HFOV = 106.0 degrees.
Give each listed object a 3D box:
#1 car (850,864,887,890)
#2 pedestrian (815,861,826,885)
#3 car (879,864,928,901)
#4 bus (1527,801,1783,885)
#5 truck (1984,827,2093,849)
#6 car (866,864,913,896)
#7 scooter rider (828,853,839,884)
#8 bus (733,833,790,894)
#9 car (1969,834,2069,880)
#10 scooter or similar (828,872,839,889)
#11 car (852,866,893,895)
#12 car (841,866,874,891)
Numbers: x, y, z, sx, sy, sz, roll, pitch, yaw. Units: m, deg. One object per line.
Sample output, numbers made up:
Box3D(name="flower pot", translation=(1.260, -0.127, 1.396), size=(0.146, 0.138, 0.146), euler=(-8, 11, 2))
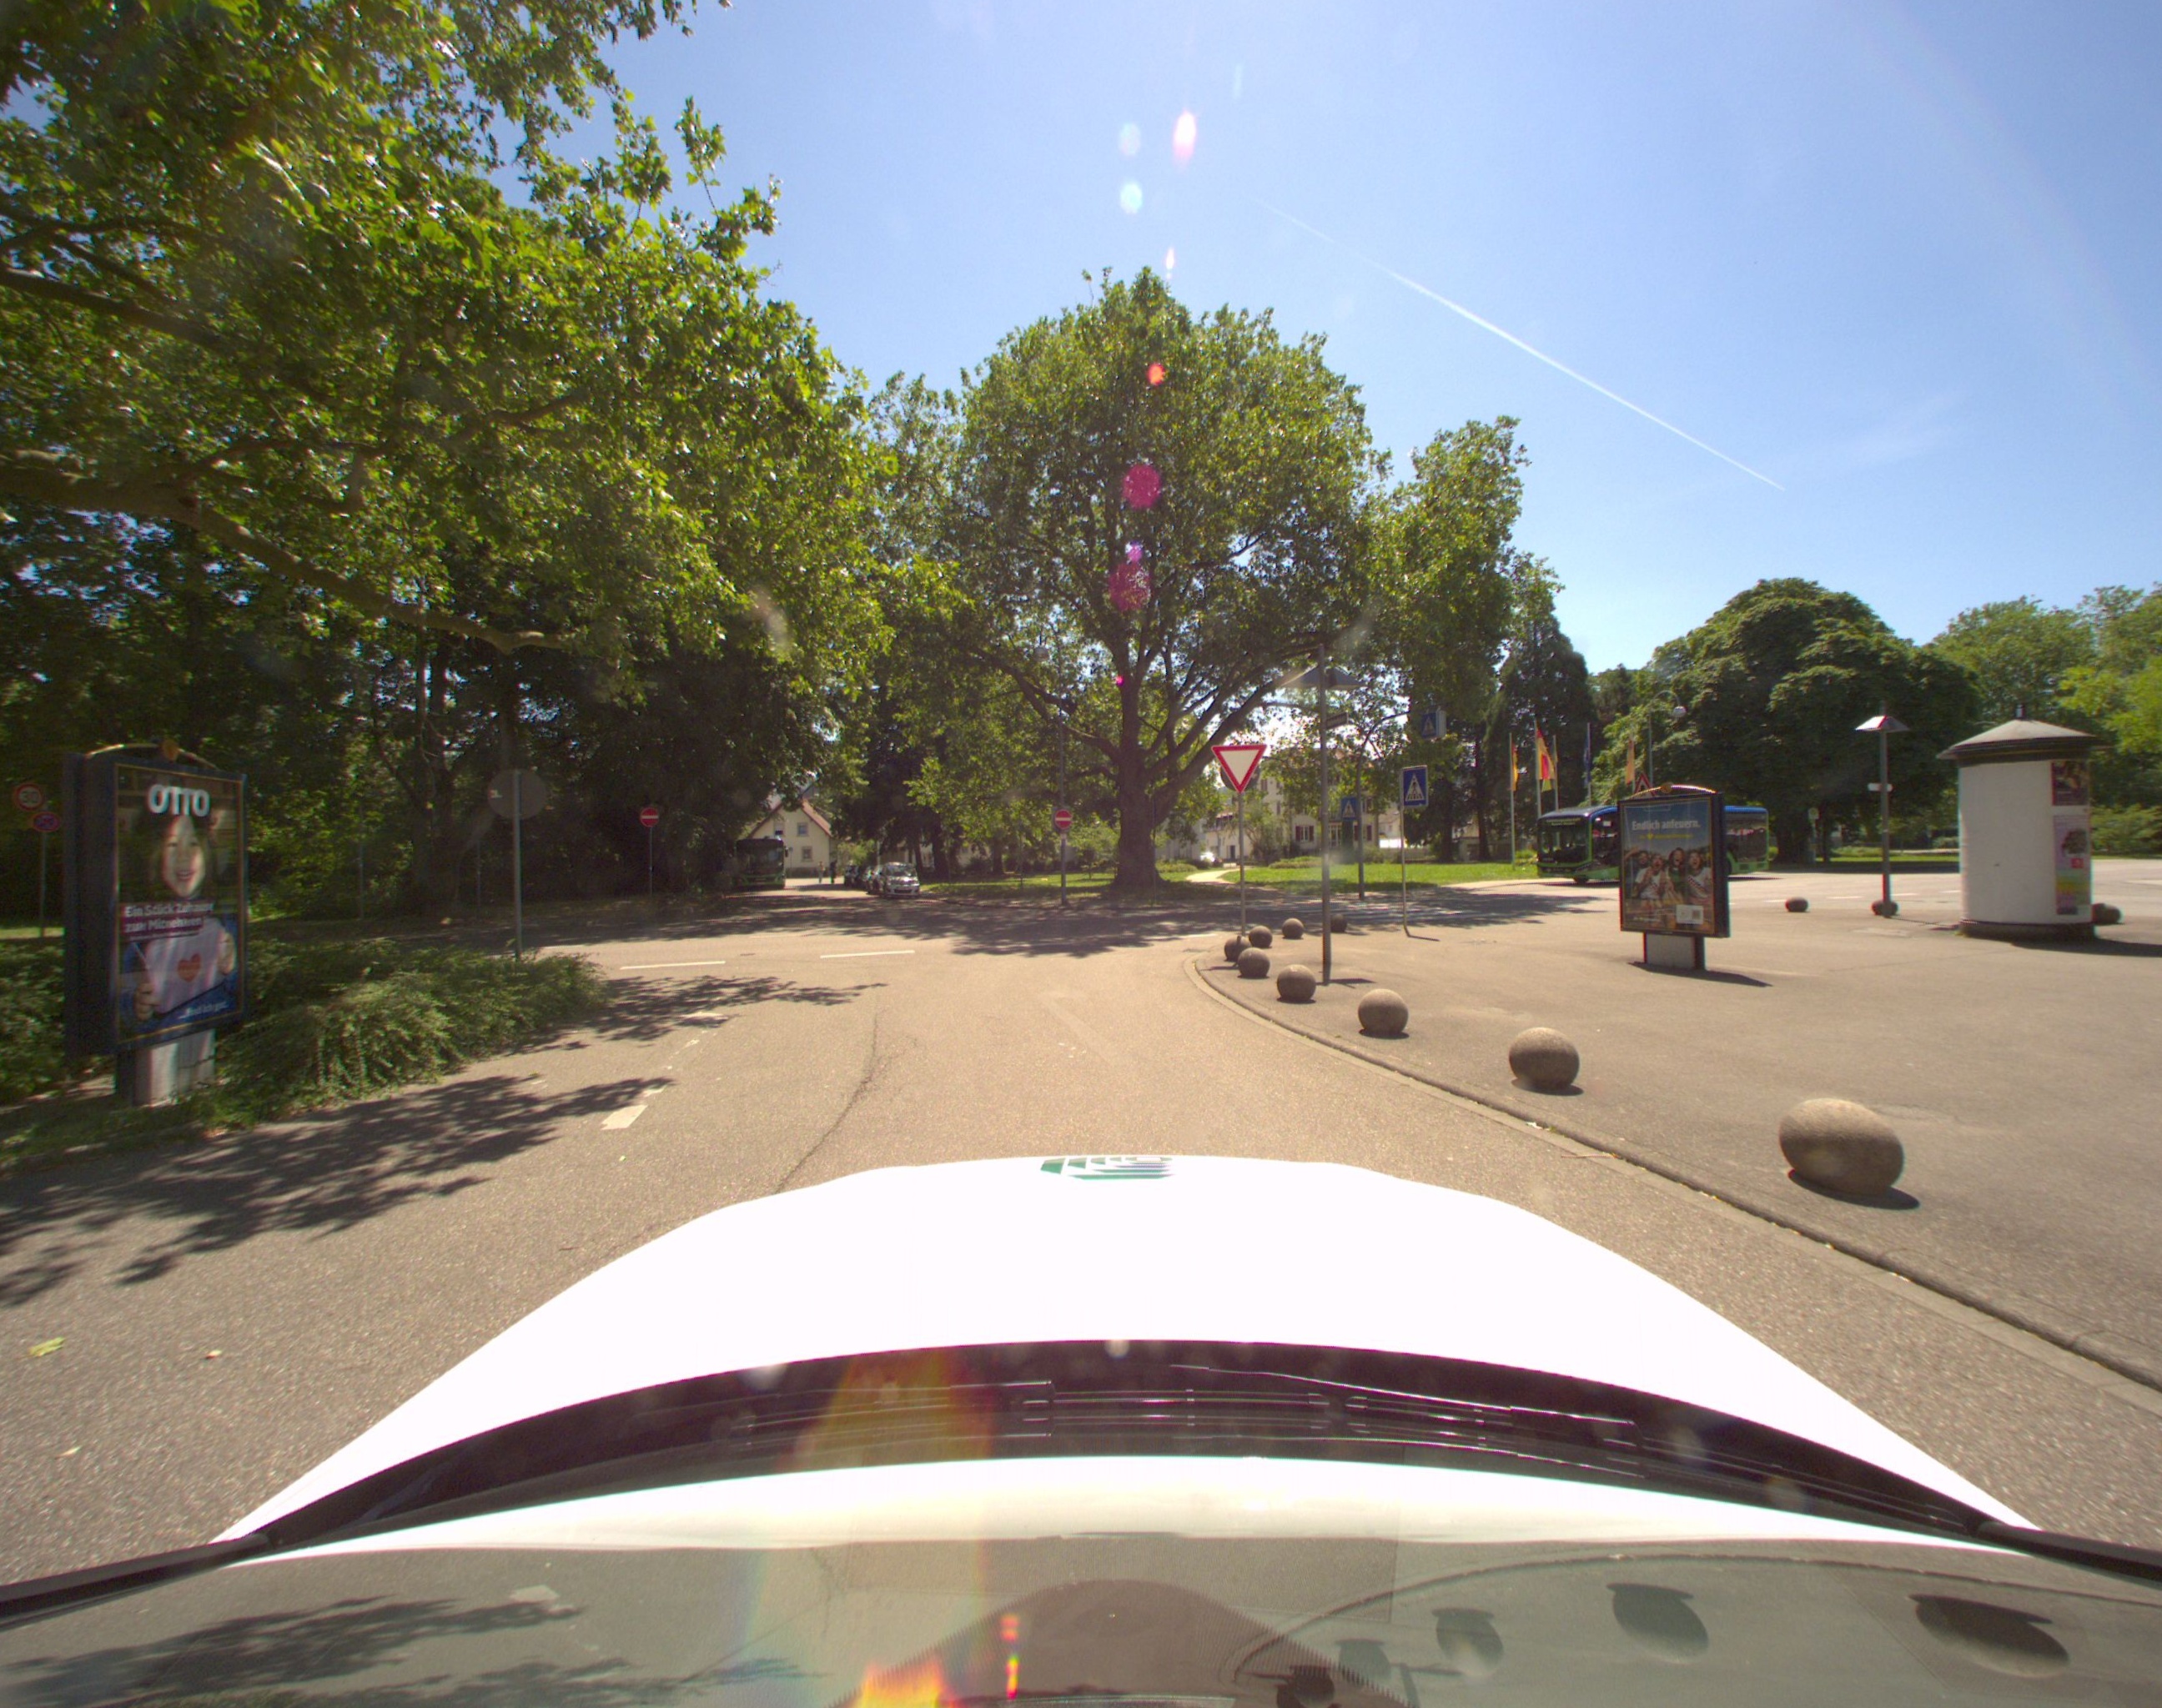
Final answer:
Box3D(name="car", translation=(-13.248, 1.369, 50.565), size=(1.760, 1.493, 4.345), euler=(-1, 0, -20))
Box3D(name="pedestrian", translation=(-20.379, 1.482, 63.726), size=(0.721, 1.802, 0.936), euler=(-1, 0, -15))
Box3D(name="car", translation=(-7.630, 1.167, 34.831), size=(1.600, 1.497, 3.462), euler=(0, -1, -20))
Box3D(name="bus", translation=(25.468, -0.570, 35.927), size=(12.430, 3.283, 2.798), euler=(-2, 0, -21))
Box3D(name="truck", translation=(113.740, -1.852, 97.078), size=(2.260, 2.349, 11.413), euler=(-1, 0, 15))
Box3D(name="car", translation=(-9.424, 1.218, 39.877), size=(1.756, 1.439, 4.472), euler=(0, -1, -20))
Box3D(name="scooter rider", translation=(-18.684, 1.101, 61.440), size=(0.741, 2.317, 0.921), euler=(-2, 0, -19))
Box3D(name="bus", translation=(-20.391, 0.614, 52.527), size=(2.878, 3.295, 15.842), euler=(-1, 0, -20))
Box3D(name="car", translation=(36.226, 0.088, 31.583), size=(1.964, 1.627, 4.807), euler=(-2, 0, 43))
Box3D(name="scooter or similar", translation=(-18.661, 1.988, 61.425), size=(0.741, 1.183, 1.509), euler=(-2, 0, -19))
Box3D(name="car", translation=(-11.816, 1.458, 46.056), size=(1.756, 1.439, 4.737), euler=(-1, 0, -20))
Box3D(name="car", translation=(-14.905, 1.605, 54.287), size=(1.760, 1.493, 3.890), euler=(-1, 0, -21))
